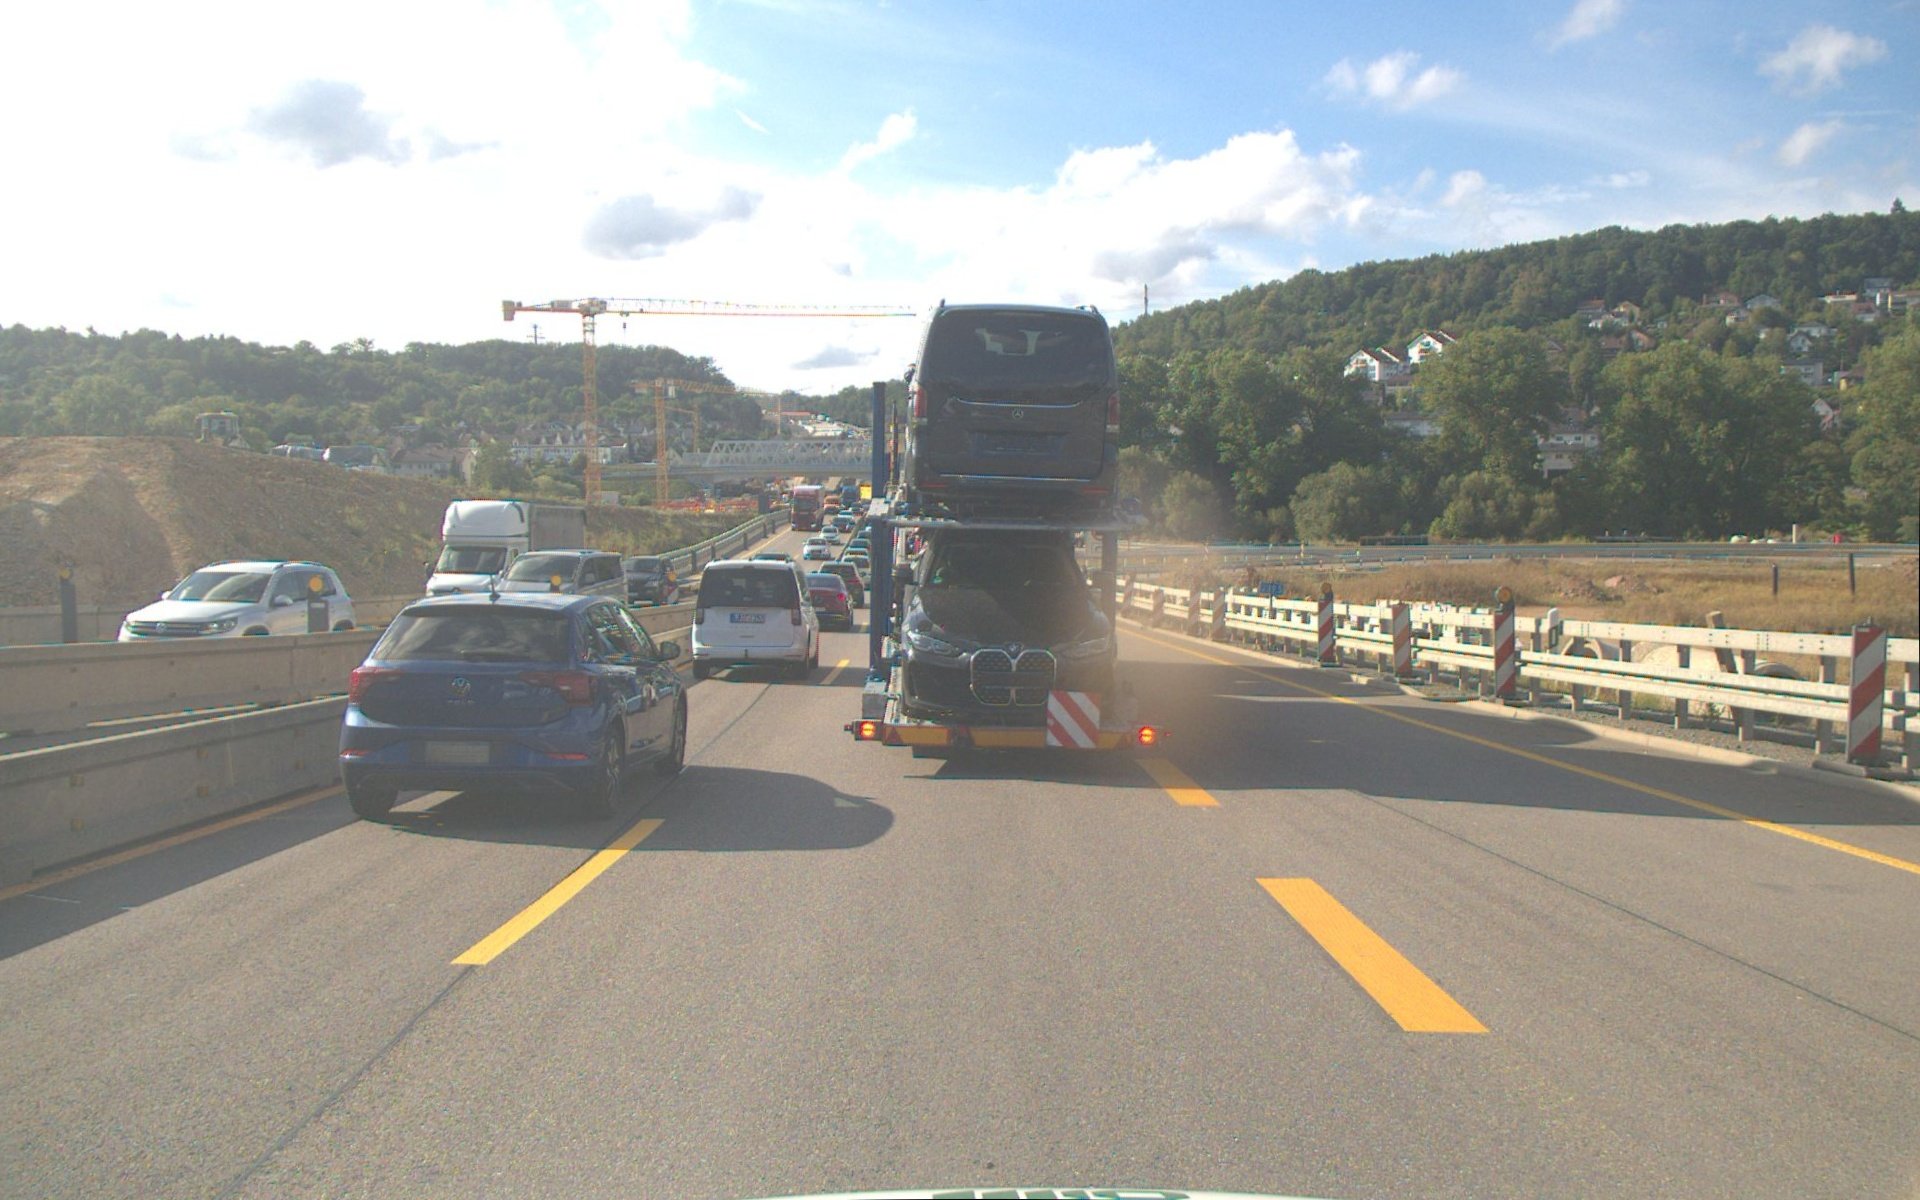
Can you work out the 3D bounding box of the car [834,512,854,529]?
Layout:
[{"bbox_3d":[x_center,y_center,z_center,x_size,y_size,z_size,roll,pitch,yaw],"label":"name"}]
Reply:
[{"bbox_3d":[-12.569,-8.627,179.520,1.806,1.677,4.505,1,1,0],"label":"car"}]

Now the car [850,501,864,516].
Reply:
[{"bbox_3d":[-13.396,-11.913,215.388,1.808,1.677,4.234,1,1,-4],"label":"car"}]

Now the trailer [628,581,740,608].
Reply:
[{"bbox_3d":[-11.016,-0.183,67.005,2.302,0.956,10.332,1,0,3],"label":"trailer"}]

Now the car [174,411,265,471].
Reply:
[{"bbox_3d":[-35.248,-7.548,78.895,1.954,2.177,5.319,-4,0,-2],"label":"car"}]

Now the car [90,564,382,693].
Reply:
[{"bbox_3d":[-10.565,0.355,24.538,2.080,1.703,4.276,1,1,6],"label":"car"}]

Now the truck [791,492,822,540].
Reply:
[{"bbox_3d":[-15.126,-8.285,163.227,2.857,4.463,6.281,2,1,-4],"label":"truck"}]

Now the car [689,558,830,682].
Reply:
[{"bbox_3d":[-3.169,0.309,26.822,1.786,1.823,3.999,1,0,0],"label":"car"}]

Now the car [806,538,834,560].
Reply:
[{"bbox_3d":[-9.824,-3.585,116.290,1.816,1.465,4.556,1,1,-3],"label":"car"}]

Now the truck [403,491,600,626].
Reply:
[{"bbox_3d":[-12.385,-1.018,45.437,2.643,3.369,7.541,1,0,5],"label":"truck"}]

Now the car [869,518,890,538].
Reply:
[{"bbox_3d":[-7.313,-6.567,150.688,1.808,1.677,4.501,1,1,-4],"label":"car"}]

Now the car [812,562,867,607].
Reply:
[{"bbox_3d":[-4.435,-0.549,61.383,1.954,1.579,3.997,1,0,-3],"label":"car"}]

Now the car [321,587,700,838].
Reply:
[{"bbox_3d":[-2.986,0.656,11.843,1.687,1.446,3.999,1,1,-1],"label":"car"}]

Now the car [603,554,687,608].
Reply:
[{"bbox_3d":[-11.310,-0.657,59.649,1.952,1.835,4.446,1,0,3],"label":"car"}]

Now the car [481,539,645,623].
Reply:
[{"bbox_3d":[-9.082,-0.451,38.313,2.080,1.796,5.035,1,1,6],"label":"car"}]

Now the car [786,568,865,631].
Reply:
[{"bbox_3d":[-3.600,0.003,45.010,1.954,1.584,4.398,1,0,-3],"label":"car"}]

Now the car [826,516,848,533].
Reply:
[{"bbox_3d":[-11.967,-7.323,161.072,1.784,1.465,4.613,1,1,-1],"label":"car"}]

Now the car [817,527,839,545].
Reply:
[{"bbox_3d":[-11.065,-5.352,138.787,1.719,1.465,3.802,1,1,-3],"label":"car"}]

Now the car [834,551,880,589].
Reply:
[{"bbox_3d":[-4.876,-1.415,79.060,1.953,1.695,3.999,1,0,-1],"label":"car"}]

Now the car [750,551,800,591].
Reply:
[{"bbox_3d":[-8.130,-1.278,72.905,1.815,1.664,4.747,1,1,-2],"label":"car"}]

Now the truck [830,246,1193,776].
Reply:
[{"bbox_3d":[0.233,-0.746,22.322,2.697,4.023,18.885,2,0,-1],"label":"truck"}]
